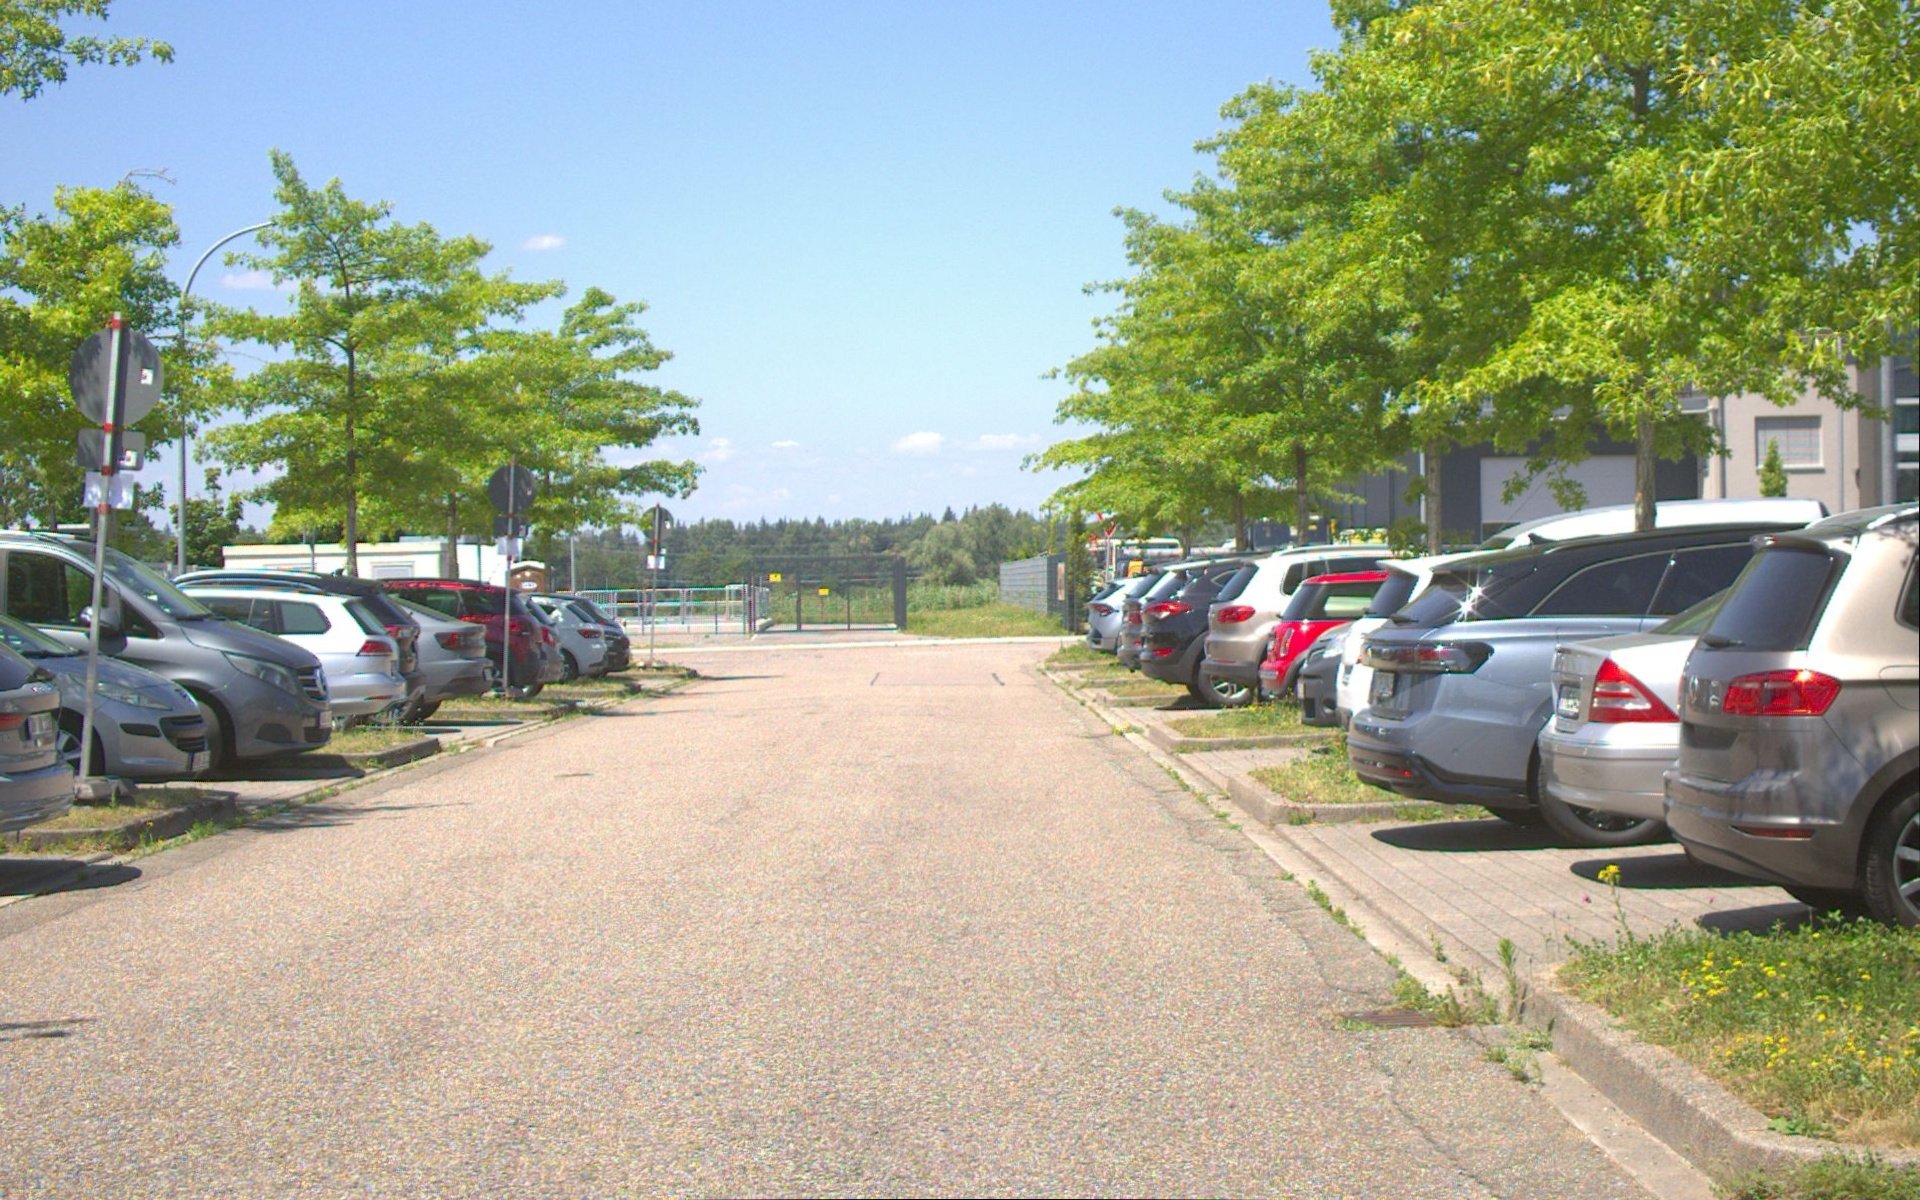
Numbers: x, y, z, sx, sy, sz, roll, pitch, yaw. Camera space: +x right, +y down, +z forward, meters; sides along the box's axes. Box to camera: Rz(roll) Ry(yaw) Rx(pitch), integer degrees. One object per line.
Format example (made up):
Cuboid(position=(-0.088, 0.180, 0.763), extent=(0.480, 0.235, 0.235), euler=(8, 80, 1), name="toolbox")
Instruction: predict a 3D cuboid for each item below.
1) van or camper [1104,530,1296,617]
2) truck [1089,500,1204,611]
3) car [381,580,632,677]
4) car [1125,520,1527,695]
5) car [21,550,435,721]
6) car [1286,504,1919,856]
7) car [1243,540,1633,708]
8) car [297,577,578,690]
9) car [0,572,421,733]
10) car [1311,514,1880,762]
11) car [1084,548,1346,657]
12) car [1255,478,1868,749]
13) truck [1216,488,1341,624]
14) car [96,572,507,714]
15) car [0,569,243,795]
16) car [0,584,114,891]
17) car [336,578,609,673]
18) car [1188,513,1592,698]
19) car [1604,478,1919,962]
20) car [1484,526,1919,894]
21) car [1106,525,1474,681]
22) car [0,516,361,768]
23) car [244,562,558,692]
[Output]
Cuboid(position=(6.417, -0.723, 92.285), extent=(4.936, 2.156, 2.000), euler=(-2, 1, -1), name="van or camper")
Cuboid(position=(5.369, -1.291, 100.062), extent=(2.726, 3.051, 6.936), euler=(-2, 1, -1), name="truck")
Cuboid(position=(-7.365, 0.452, 56.125), extent=(3.927, 1.515, 1.785), euler=(1, 0, -3), name="car")
Cuboid(position=(4.022, 0.077, 38.260), extent=(4.173, 1.690, 1.782), euler=(-3, 0, -1), name="car")
Cuboid(position=(-7.517, 0.359, 35.589), extent=(3.986, 1.673, 1.777), euler=(1, 0, -5), name="car")
Cuboid(position=(4.209, 0.327, 17.686), extent=(4.715, 1.555, 1.914), euler=(-3, 0, -4), name="car")
Cuboid(position=(4.590, 0.217, 33.330), extent=(3.457, 1.412, 1.755), euler=(-3, 0, -1), name="car")
Cuboid(position=(-7.082, 0.446, 46.856), extent=(3.656, 1.503, 1.731), euler=(0, 0, -4), name="car")
Cuboid(position=(-7.271, 0.487, 32.812), extent=(4.036, 1.456, 1.604), euler=(1, 0, -3), name="car")
Cuboid(position=(4.401, 0.255, 24.178), extent=(3.631, 1.498, 1.676), euler=(-3, 0, 1), name="car")
Cuboid(position=(4.341, 0.040, 58.947), extent=(4.279, 1.638, 1.851), euler=(-3, 0, 0), name="car")
Cuboid(position=(4.624, 0.097, 26.904), extent=(4.403, 1.823, 1.795), euler=(-3, 0, 1), name="car")
Cuboid(position=(9.585, -1.318, 104.147), extent=(2.921, 3.916, 6.936), euler=(-2, 1, -1), name="truck")
Cuboid(position=(-7.228, 0.455, 37.978), extent=(4.193, 1.475, 1.713), euler=(1, 0, 0), name="car")
Cuboid(position=(-7.156, 0.525, 23.864), extent=(3.968, 1.479, 1.764), euler=(1, 1, 0), name="car")
Cuboid(position=(-6.793, 0.637, 17.177), extent=(4.712, 1.442, 1.858), euler=(0, 1, -3), name="car")
Cuboid(position=(-7.580, 0.387, 53.743), extent=(4.075, 1.419, 1.874), euler=(1, 0, -4), name="car")
Cuboid(position=(4.397, 0.052, 35.553), extent=(3.875, 1.672, 1.782), euler=(-3, 0, 0), name="car")
Cuboid(position=(4.579, 0.317, 12.606), extent=(4.047, 1.619, 1.693), euler=(-3, 0, 0), name="car")
Cuboid(position=(4.486, 0.388, 15.109), extent=(4.047, 1.448, 1.645), euler=(-3, 0, 0), name="car")
Cuboid(position=(4.230, 0.022, 44.571), extent=(4.448, 1.762, 1.993), euler=(-3, 0, -2), name="car")
Cuboid(position=(-7.391, 0.301, 26.832), extent=(5.070, 1.885, 1.997), euler=(0, 1, 1), name="car")
Cuboid(position=(-7.155, 0.333, 44.240), extent=(3.737, 1.616, 1.816), euler=(0, 0, 0), name="car")
